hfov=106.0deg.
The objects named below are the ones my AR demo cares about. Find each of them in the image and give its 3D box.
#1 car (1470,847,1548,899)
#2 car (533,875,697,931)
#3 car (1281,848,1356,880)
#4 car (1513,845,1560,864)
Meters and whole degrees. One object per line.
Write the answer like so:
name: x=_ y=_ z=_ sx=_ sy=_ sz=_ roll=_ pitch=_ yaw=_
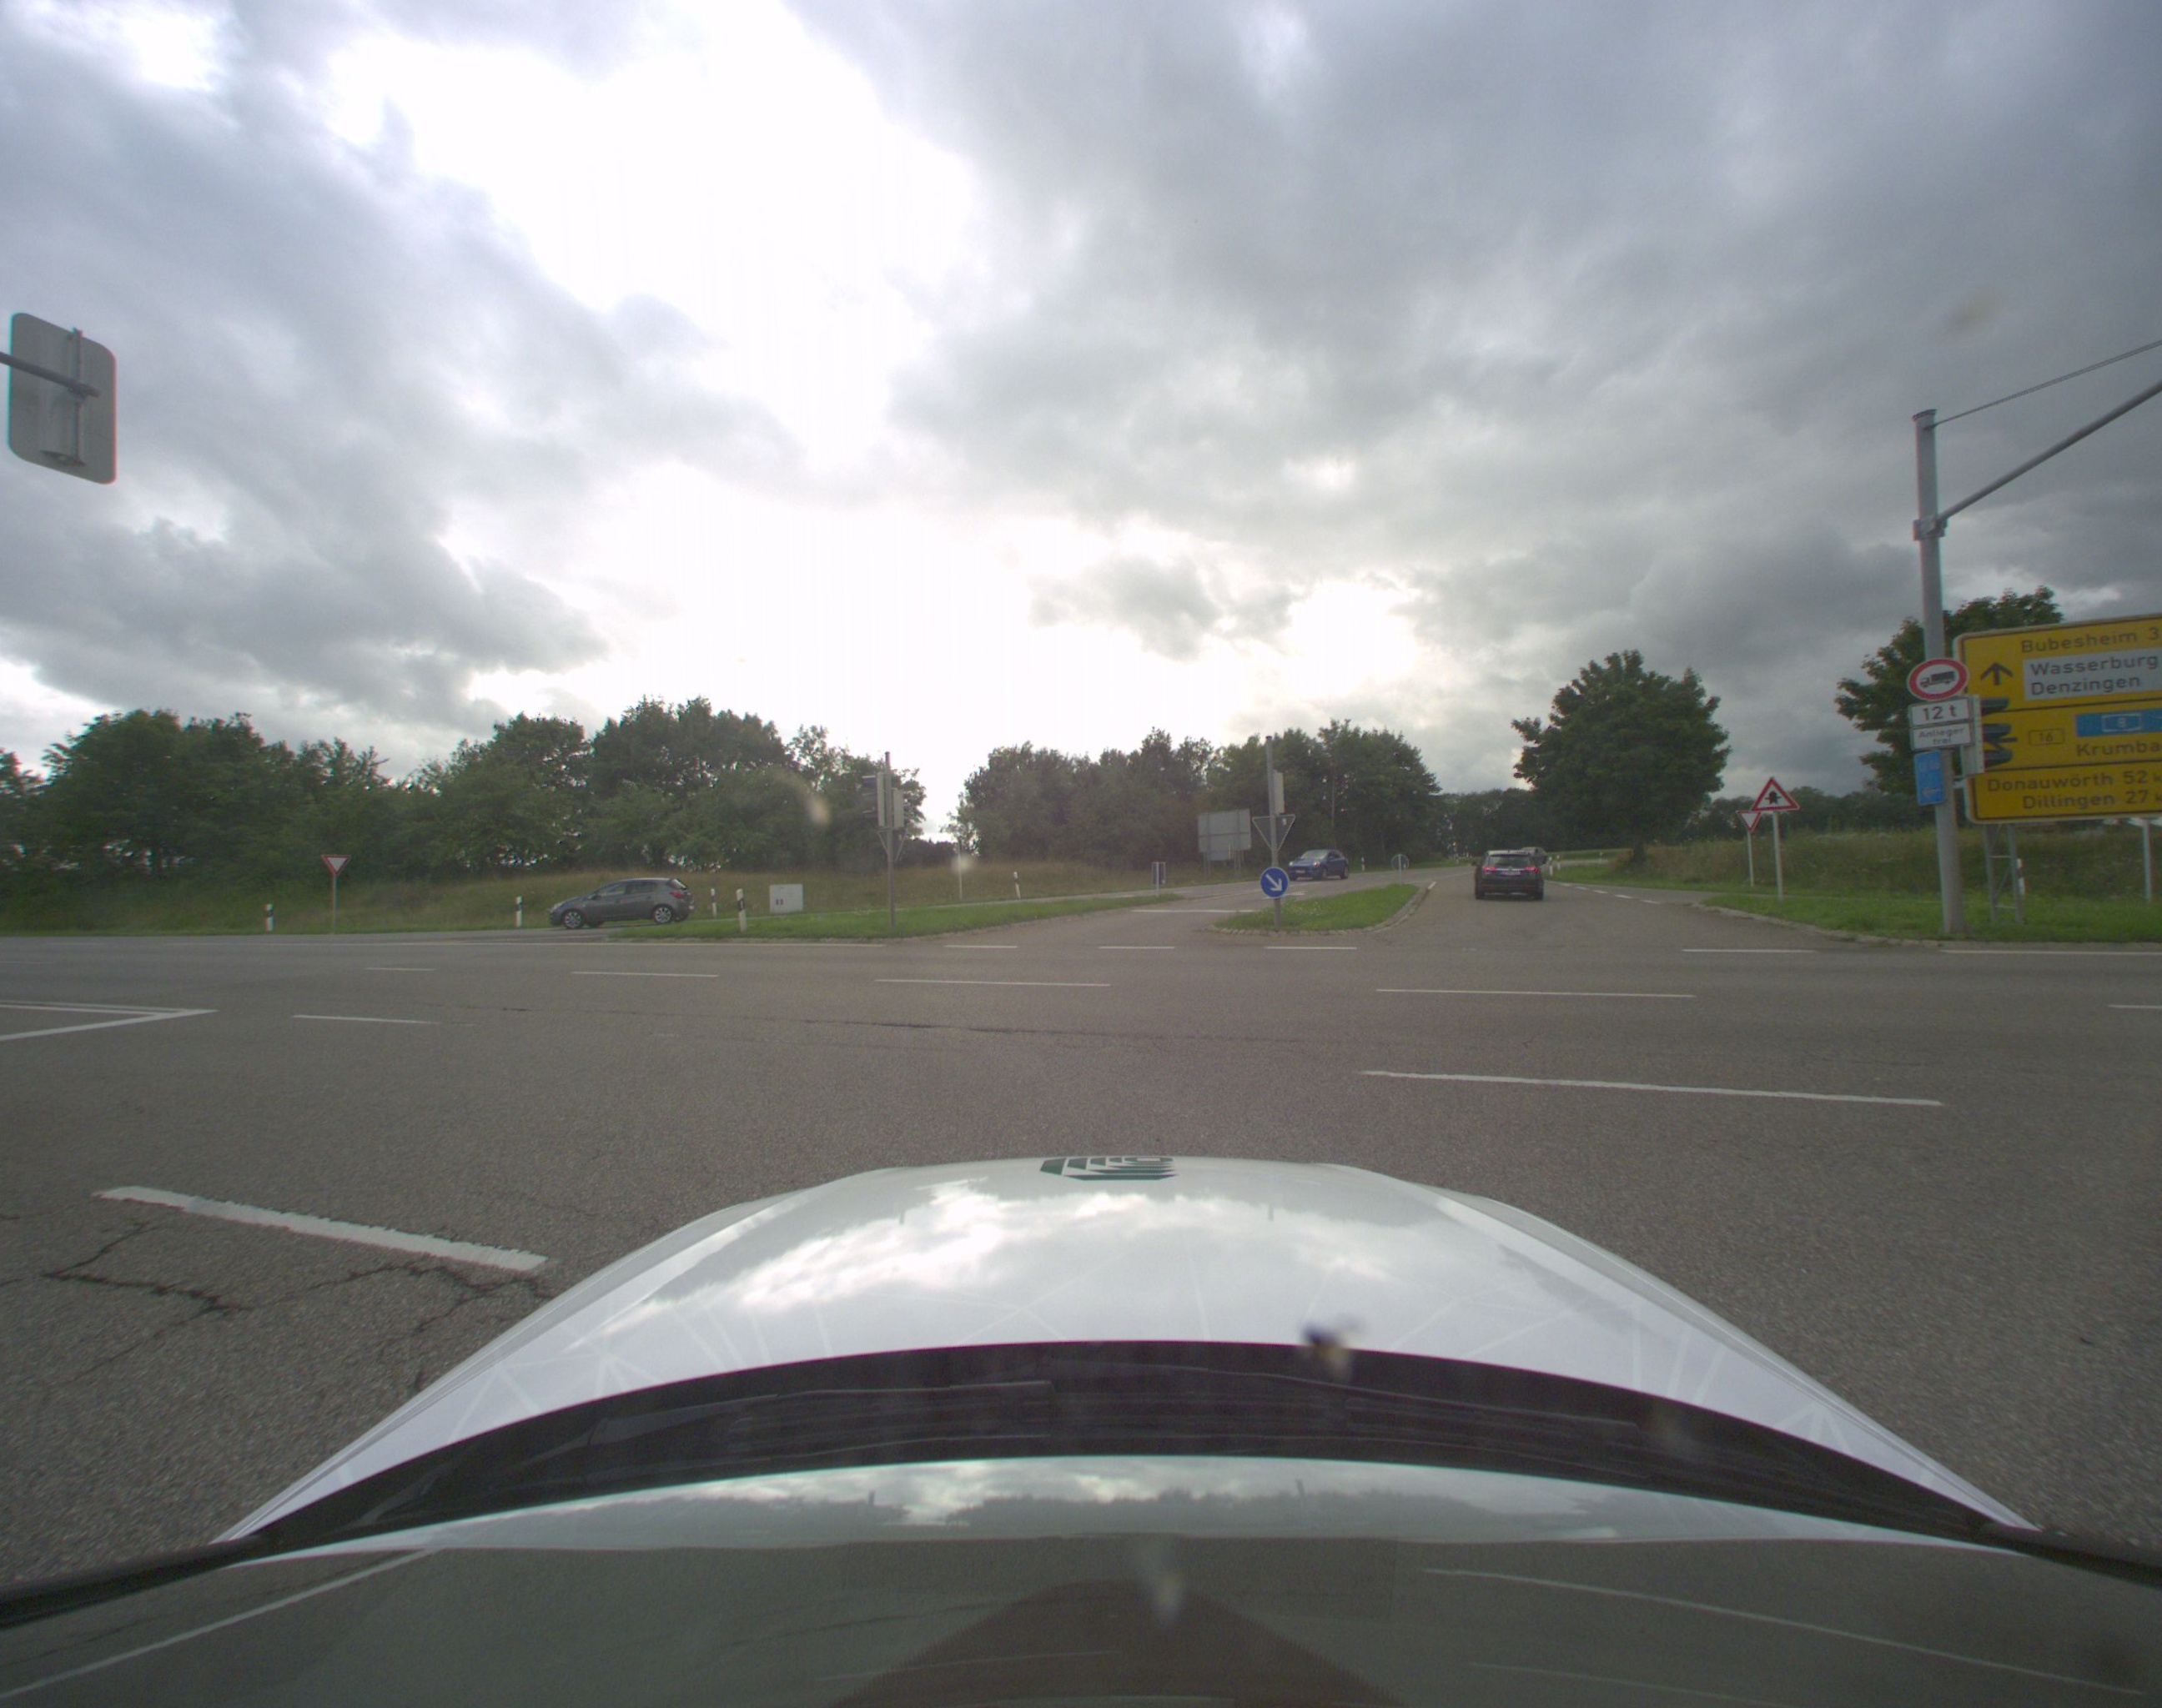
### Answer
car: x=13.056 y=0.572 z=25.047 sx=1.791 sy=1.451 sz=4.296 roll=-2 pitch=-2 yaw=24
car: x=-14.378 y=1.481 z=25.386 sx=3.991 sy=1.535 sz=1.991 roll=-1 pitch=-2 yaw=-13
car: x=12.688 y=0.496 z=43.326 sx=1.974 sy=1.570 sz=4.786 roll=-2 pitch=-1 yaw=41
car: x=38.651 y=0.022 z=69.060 sx=4.692 sy=1.503 sz=1.976 roll=-1 pitch=-1 yaw=-42
